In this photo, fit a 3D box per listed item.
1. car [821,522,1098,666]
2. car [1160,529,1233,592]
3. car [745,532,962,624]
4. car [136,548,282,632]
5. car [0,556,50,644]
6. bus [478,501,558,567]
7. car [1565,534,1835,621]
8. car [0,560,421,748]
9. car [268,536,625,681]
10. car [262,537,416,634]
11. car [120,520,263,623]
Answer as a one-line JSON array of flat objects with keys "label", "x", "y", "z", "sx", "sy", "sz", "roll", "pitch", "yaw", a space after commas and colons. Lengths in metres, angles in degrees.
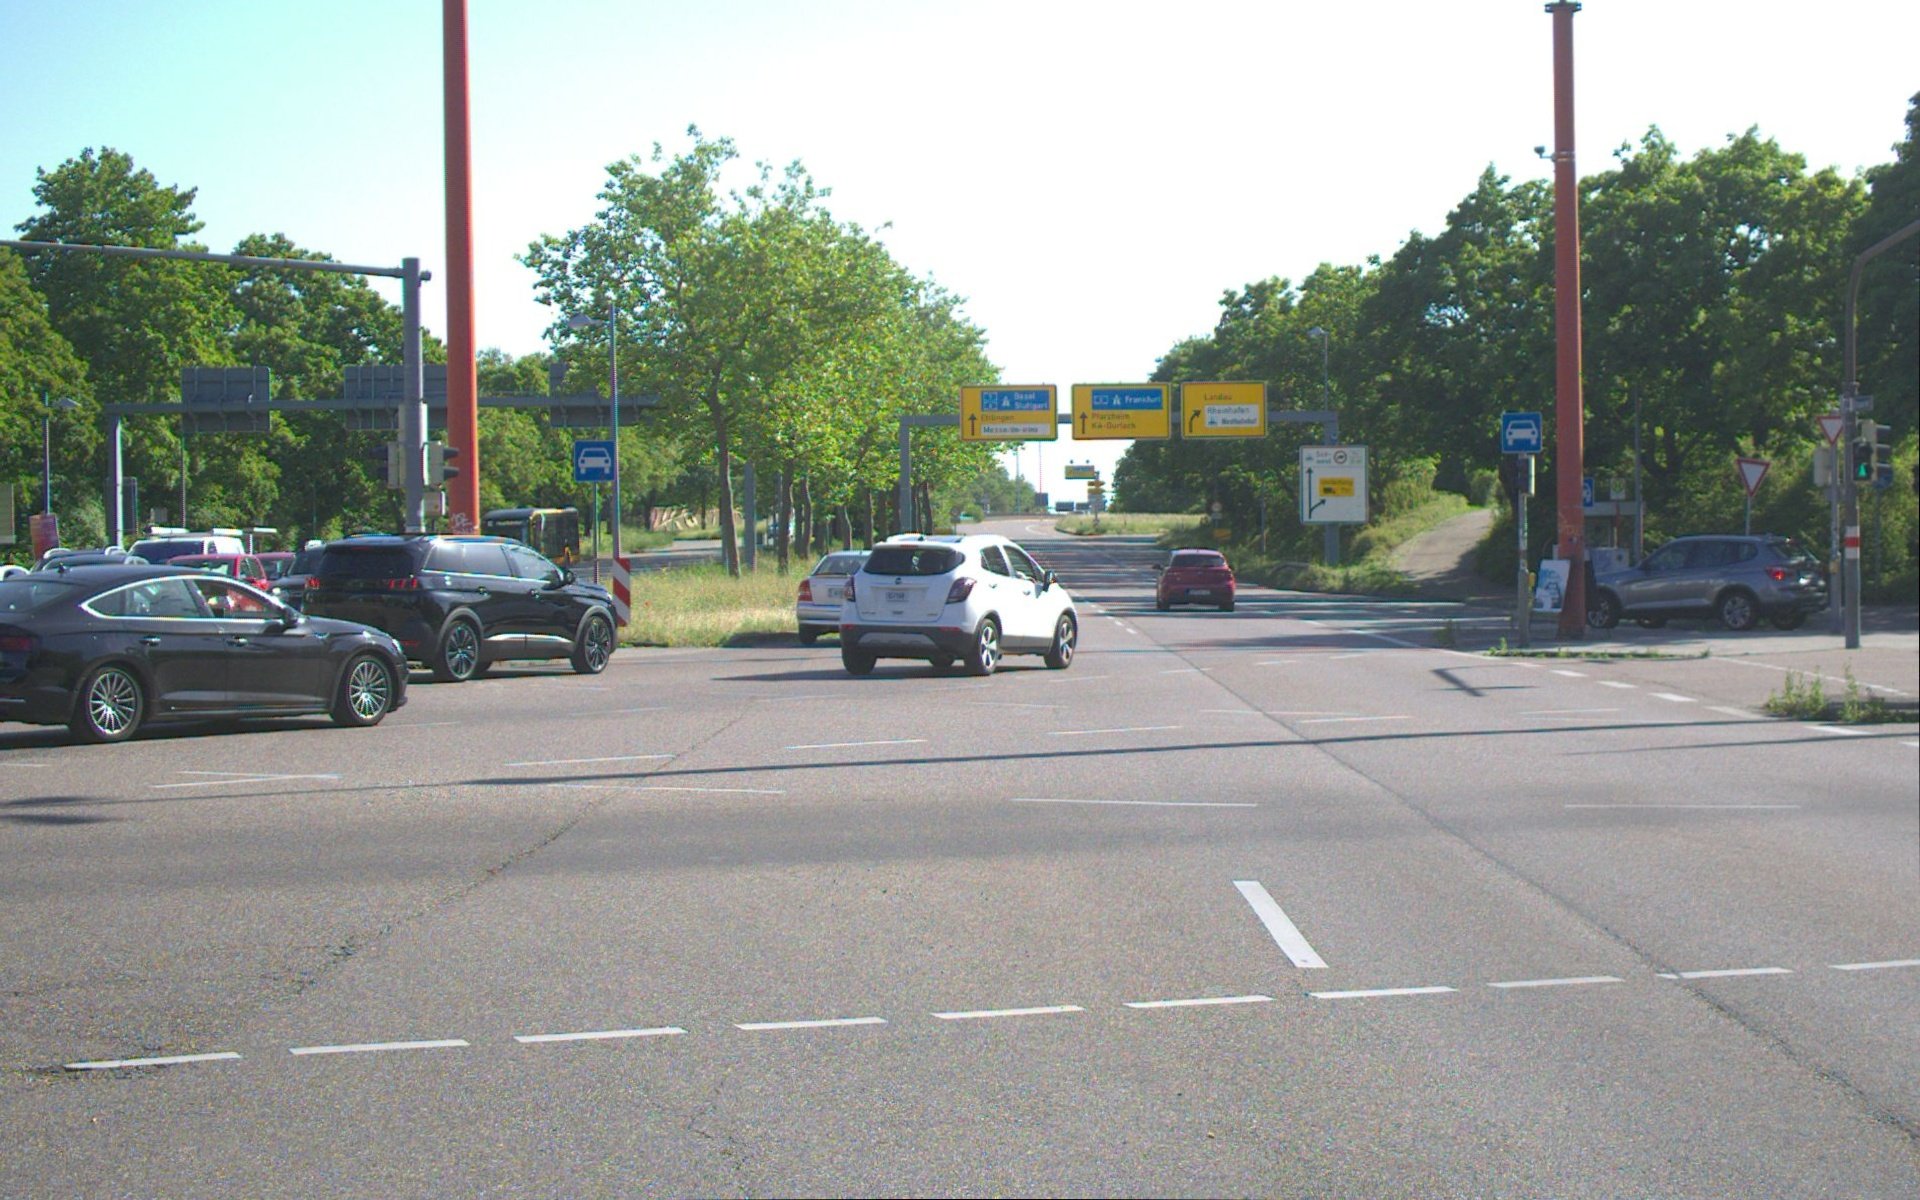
[{"label": "car", "x": 0.055, "y": -0.105, "z": 41.288, "sx": 1.825, "sy": 1.630, "sz": 4.248, "roll": 0, "pitch": 1, "yaw": 23}, {"label": "car", "x": 5.595, "y": -0.952, "z": 81.511, "sx": 1.680, "sy": 1.430, "sz": 4.065, "roll": -1, "pitch": 1, "yaw": 3}, {"label": "car", "x": -1.572, "y": -0.320, "z": 52.124, "sx": 1.485, "sy": 1.341, "sz": 3.994, "roll": 0, "pitch": 0, "yaw": 28}, {"label": "car", "x": -12.692, "y": -0.190, "z": 58.273, "sx": 1.739, "sy": 1.357, "sz": 3.613, "roll": -1, "pitch": 1, "yaw": -1}, {"label": "car", "x": -16.423, "y": -0.017, "z": 57.050, "sx": 1.739, "sy": 1.406, "sz": 3.613, "roll": -1, "pitch": 1, "yaw": -1}, {"label": "bus", "x": -22.266, "y": -3.323, "z": 173.519, "sx": 2.492, "sy": 3.227, "sz": 10.000, "roll": -1, "pitch": 1, "yaw": 1}, {"label": "car", "x": 13.093, "y": -0.408, "z": 60.919, "sx": 4.324, "sy": 1.480, "sz": 1.781, "roll": 0, "pitch": 1, "yaw": 37}, {"label": "car", "x": -6.537, "y": 0.376, "z": 27.494, "sx": 1.763, "sy": 1.345, "sz": 4.353, "roll": 0, "pitch": 1, "yaw": 38}, {"label": "car", "x": -5.754, "y": 0.053, "z": 39.053, "sx": 1.855, "sy": 1.540, "sz": 4.256, "roll": 0, "pitch": 1, "yaw": 27}, {"label": "car", "x": -10.079, "y": -0.258, "z": 56.043, "sx": 1.819, "sy": 1.503, "sz": 4.000, "roll": -1, "pitch": 1, "yaw": -1}, {"label": "car", "x": -15.840, "y": -0.590, "z": 71.080, "sx": 1.893, "sy": 2.019, "sz": 5.223, "roll": 1, "pitch": 0, "yaw": -1}]
